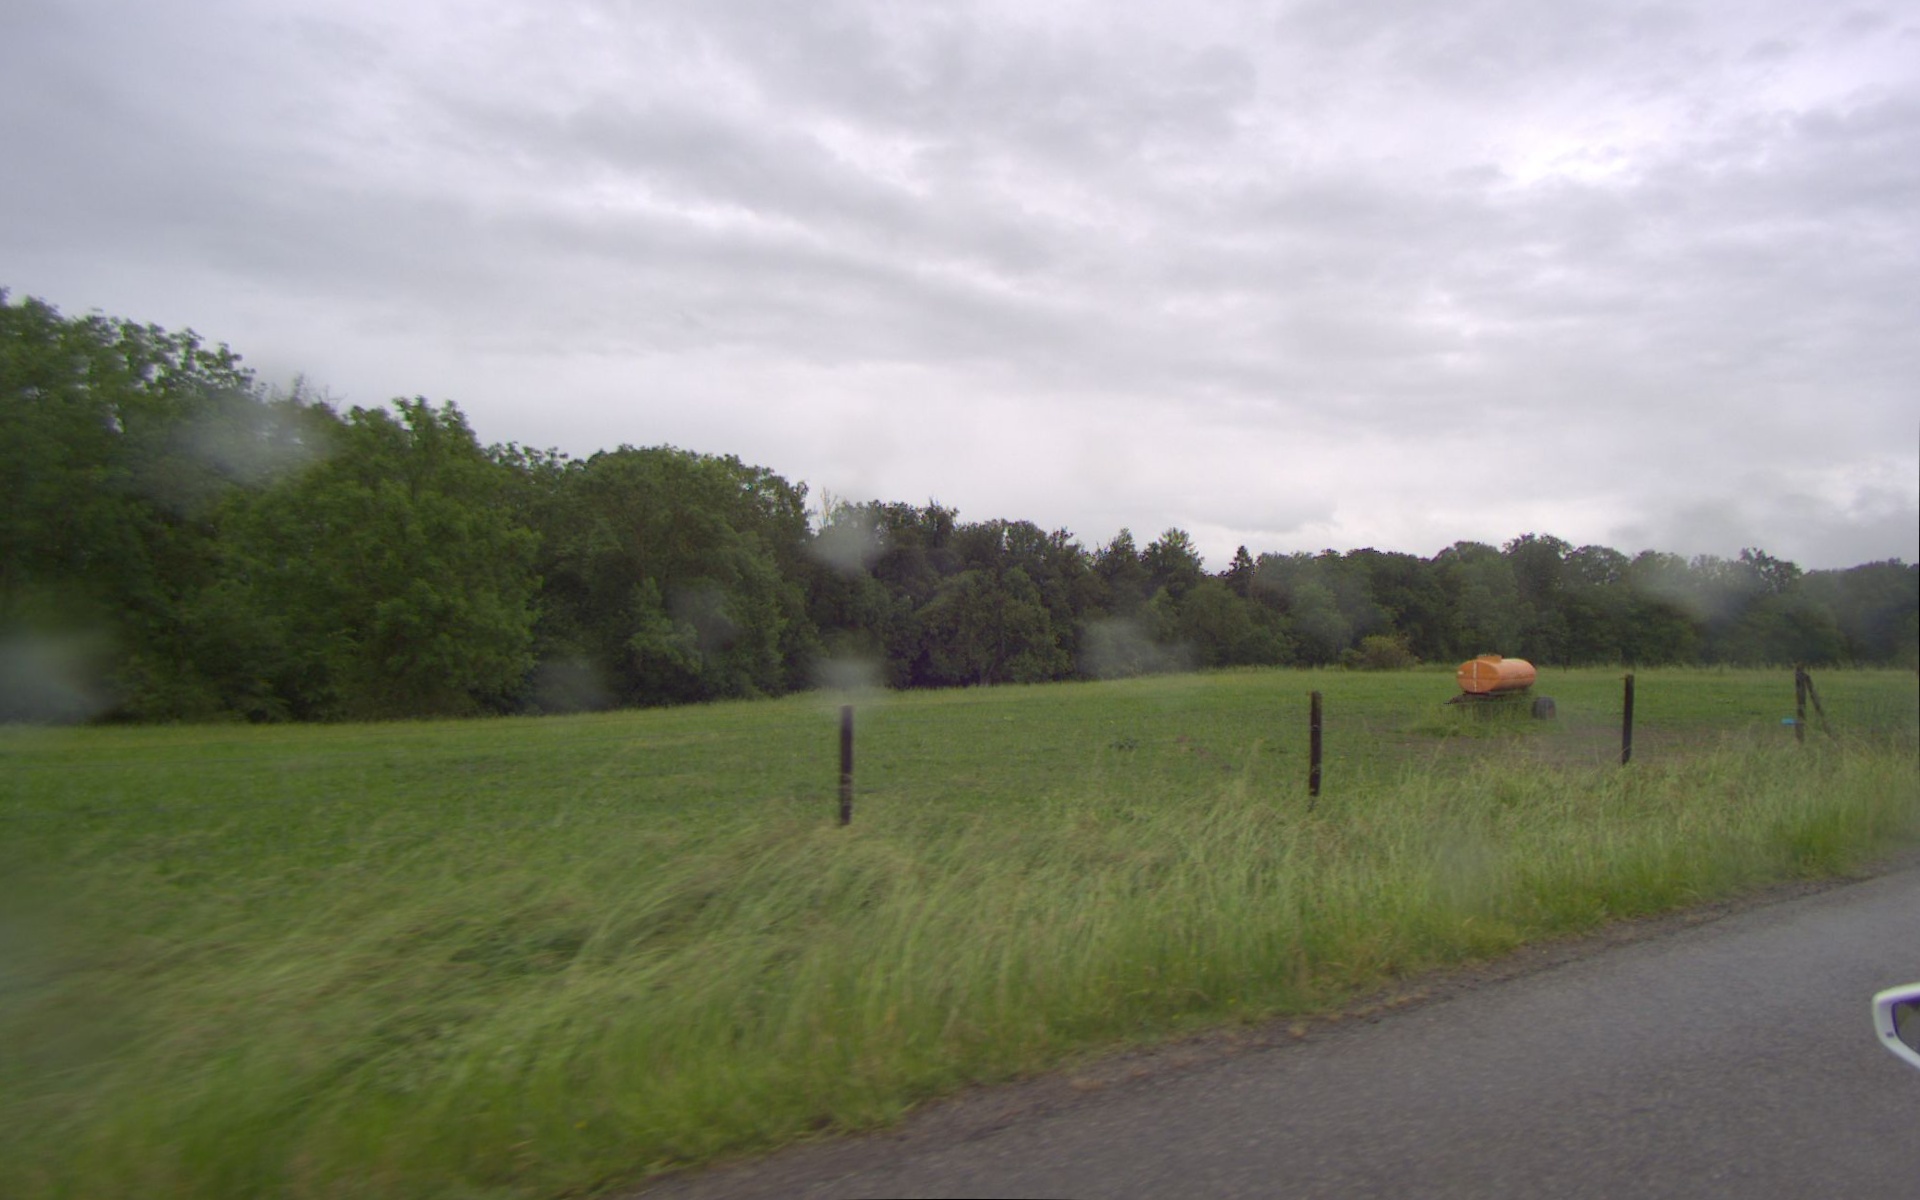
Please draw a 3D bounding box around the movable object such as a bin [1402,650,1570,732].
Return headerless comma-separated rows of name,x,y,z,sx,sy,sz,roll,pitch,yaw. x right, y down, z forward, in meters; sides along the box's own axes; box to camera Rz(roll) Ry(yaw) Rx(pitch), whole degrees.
movable object such as a bin,11.313,1.928,21.582,3.499,1.591,1.670,4,-3,-32
